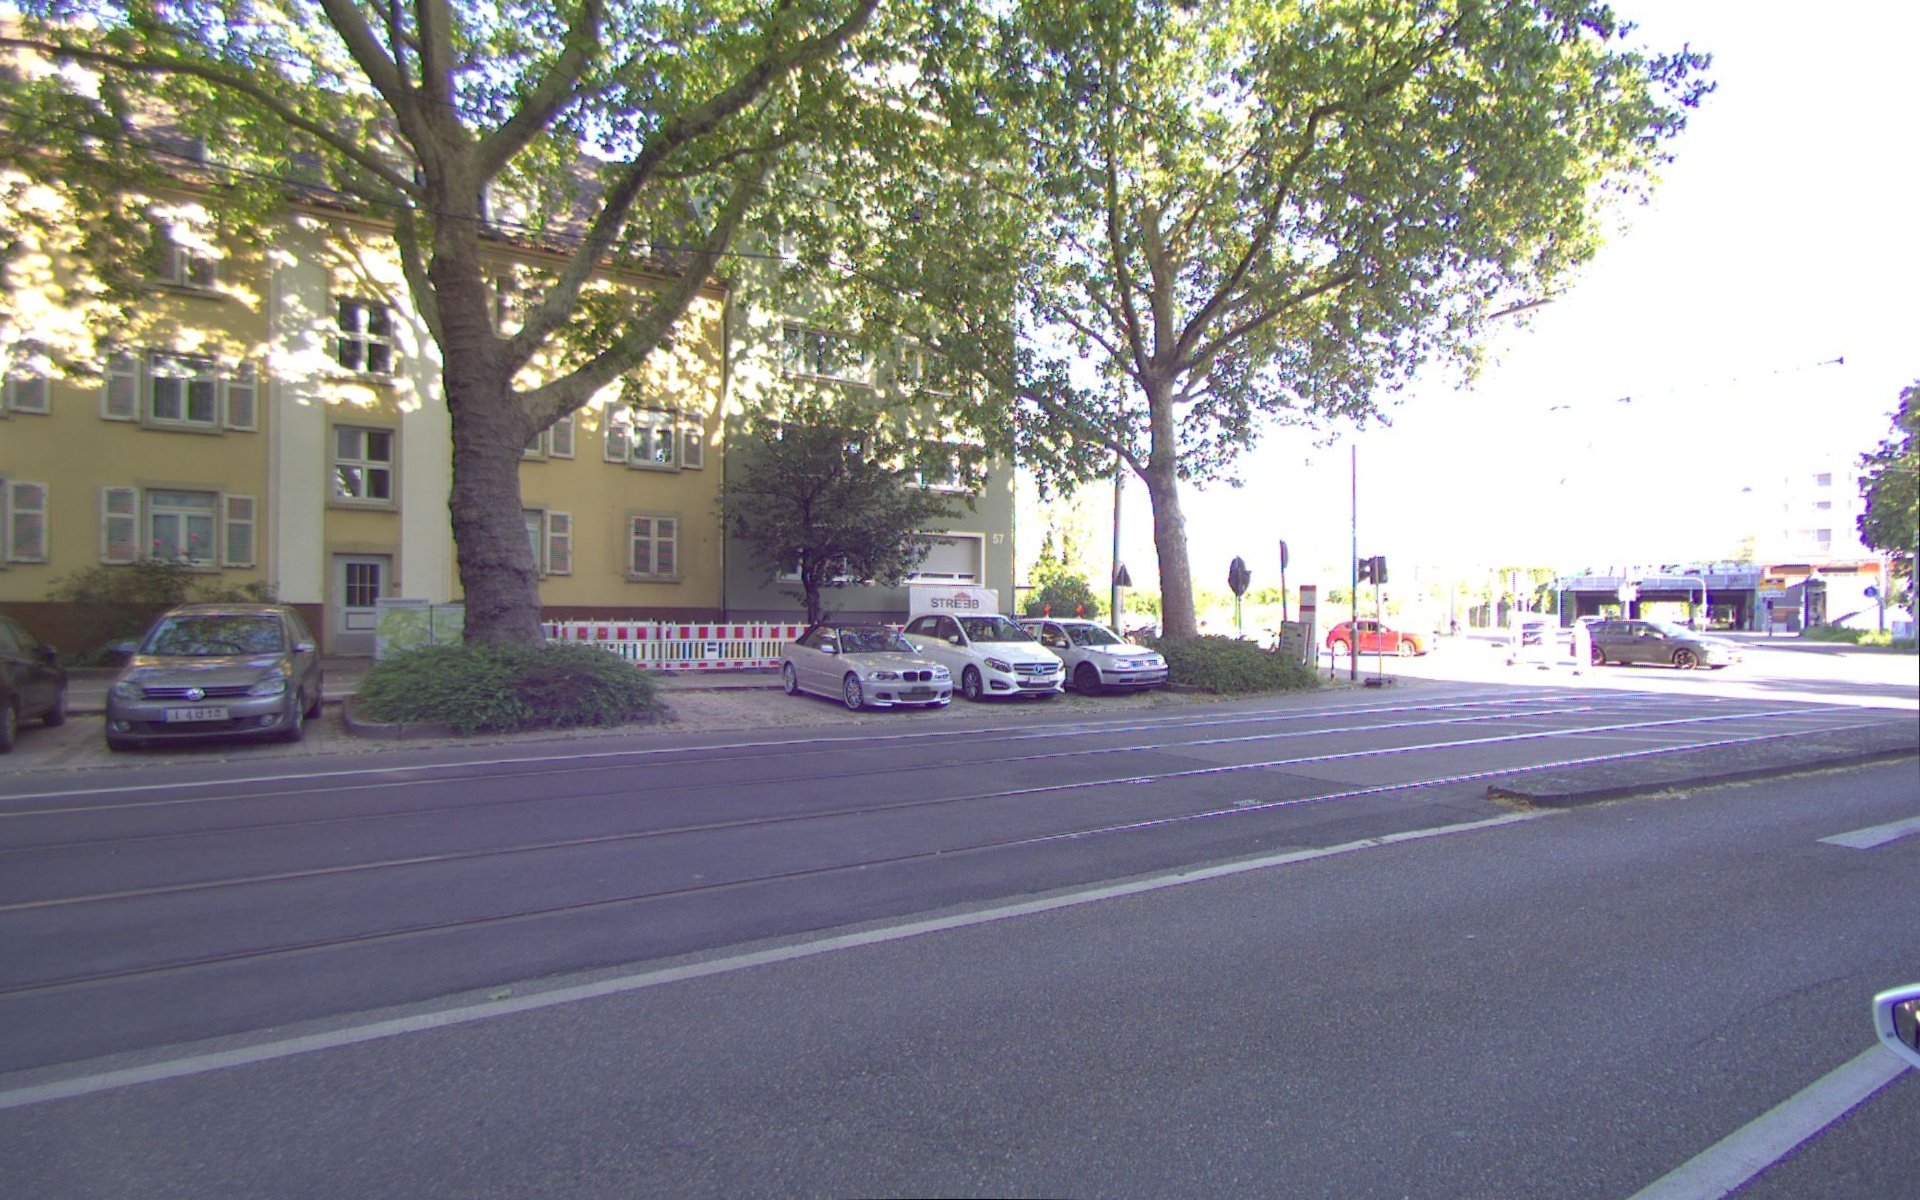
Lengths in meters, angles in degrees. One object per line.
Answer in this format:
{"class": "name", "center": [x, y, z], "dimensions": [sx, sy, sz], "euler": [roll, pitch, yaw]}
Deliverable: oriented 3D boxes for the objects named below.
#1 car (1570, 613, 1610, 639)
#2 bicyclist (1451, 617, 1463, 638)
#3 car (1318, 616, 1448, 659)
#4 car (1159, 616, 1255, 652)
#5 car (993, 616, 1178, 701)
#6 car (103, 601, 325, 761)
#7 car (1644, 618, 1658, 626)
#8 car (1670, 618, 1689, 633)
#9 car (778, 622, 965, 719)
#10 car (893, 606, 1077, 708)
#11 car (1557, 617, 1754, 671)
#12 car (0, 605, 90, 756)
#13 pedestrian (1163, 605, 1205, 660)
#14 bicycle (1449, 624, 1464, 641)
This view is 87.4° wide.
{"class": "car", "center": [40.677, 1.679, 64.833], "dimensions": [1.860, 1.606, 3.823], "euler": [2, 0, 37]}
{"class": "bicyclist", "center": [29.160, 1.627, 58.953], "dimensions": [0.519, 1.239, 0.528], "euler": [0, 0, 36]}
{"class": "car", "center": [17.080, 1.464, 40.665], "dimensions": [4.429, 1.586, 2.011], "euler": [0, -1, 44]}
{"class": "car", "center": [12.119, 1.637, 49.327], "dimensions": [4.130, 1.572, 1.989], "euler": [2, 0, 38]}
{"class": "car", "center": [2.450, 1.114, 20.535], "dimensions": [1.651, 1.473, 3.949], "euler": [1, 0, -31]}
{"class": "car", "center": [-8.990, 0.838, 12.422], "dimensions": [1.652, 1.602, 3.953], "euler": [1, 0, -29]}
{"class": "car", "center": [110.208, 3.572, 160.257], "dimensions": [1.555, 1.277, 3.421], "euler": [0, -1, 30]}
{"class": "car", "center": [83.518, 2.973, 116.678], "dimensions": [1.731, 1.706, 3.729], "euler": [2, 0, 36]}
{"class": "car", "center": [-1.641, 1.113, 17.315], "dimensions": [1.651, 1.370, 3.949], "euler": [1, 0, -31]}
{"class": "car", "center": [0.359, 0.987, 19.160], "dimensions": [1.651, 1.669, 3.949], "euler": [1, 0, -31]}
{"class": "car", "center": [21.273, 1.296, 30.976], "dimensions": [1.912, 1.493, 4.713], "euler": [1, -1, -24]}
{"class": "car", "center": [-11.456, 0.838, 11.390], "dimensions": [1.652, 1.518, 3.778], "euler": [1, 0, -29]}
{"class": "pedestrian", "center": [6.902, 0.994, 30.958], "dimensions": [0.919, 1.669, 0.841], "euler": [2, 0, -30]}
{"class": "bicycle", "center": [29.152, 1.898, 58.944], "dimensions": [0.519, 0.995, 1.571], "euler": [0, -1, 36]}
